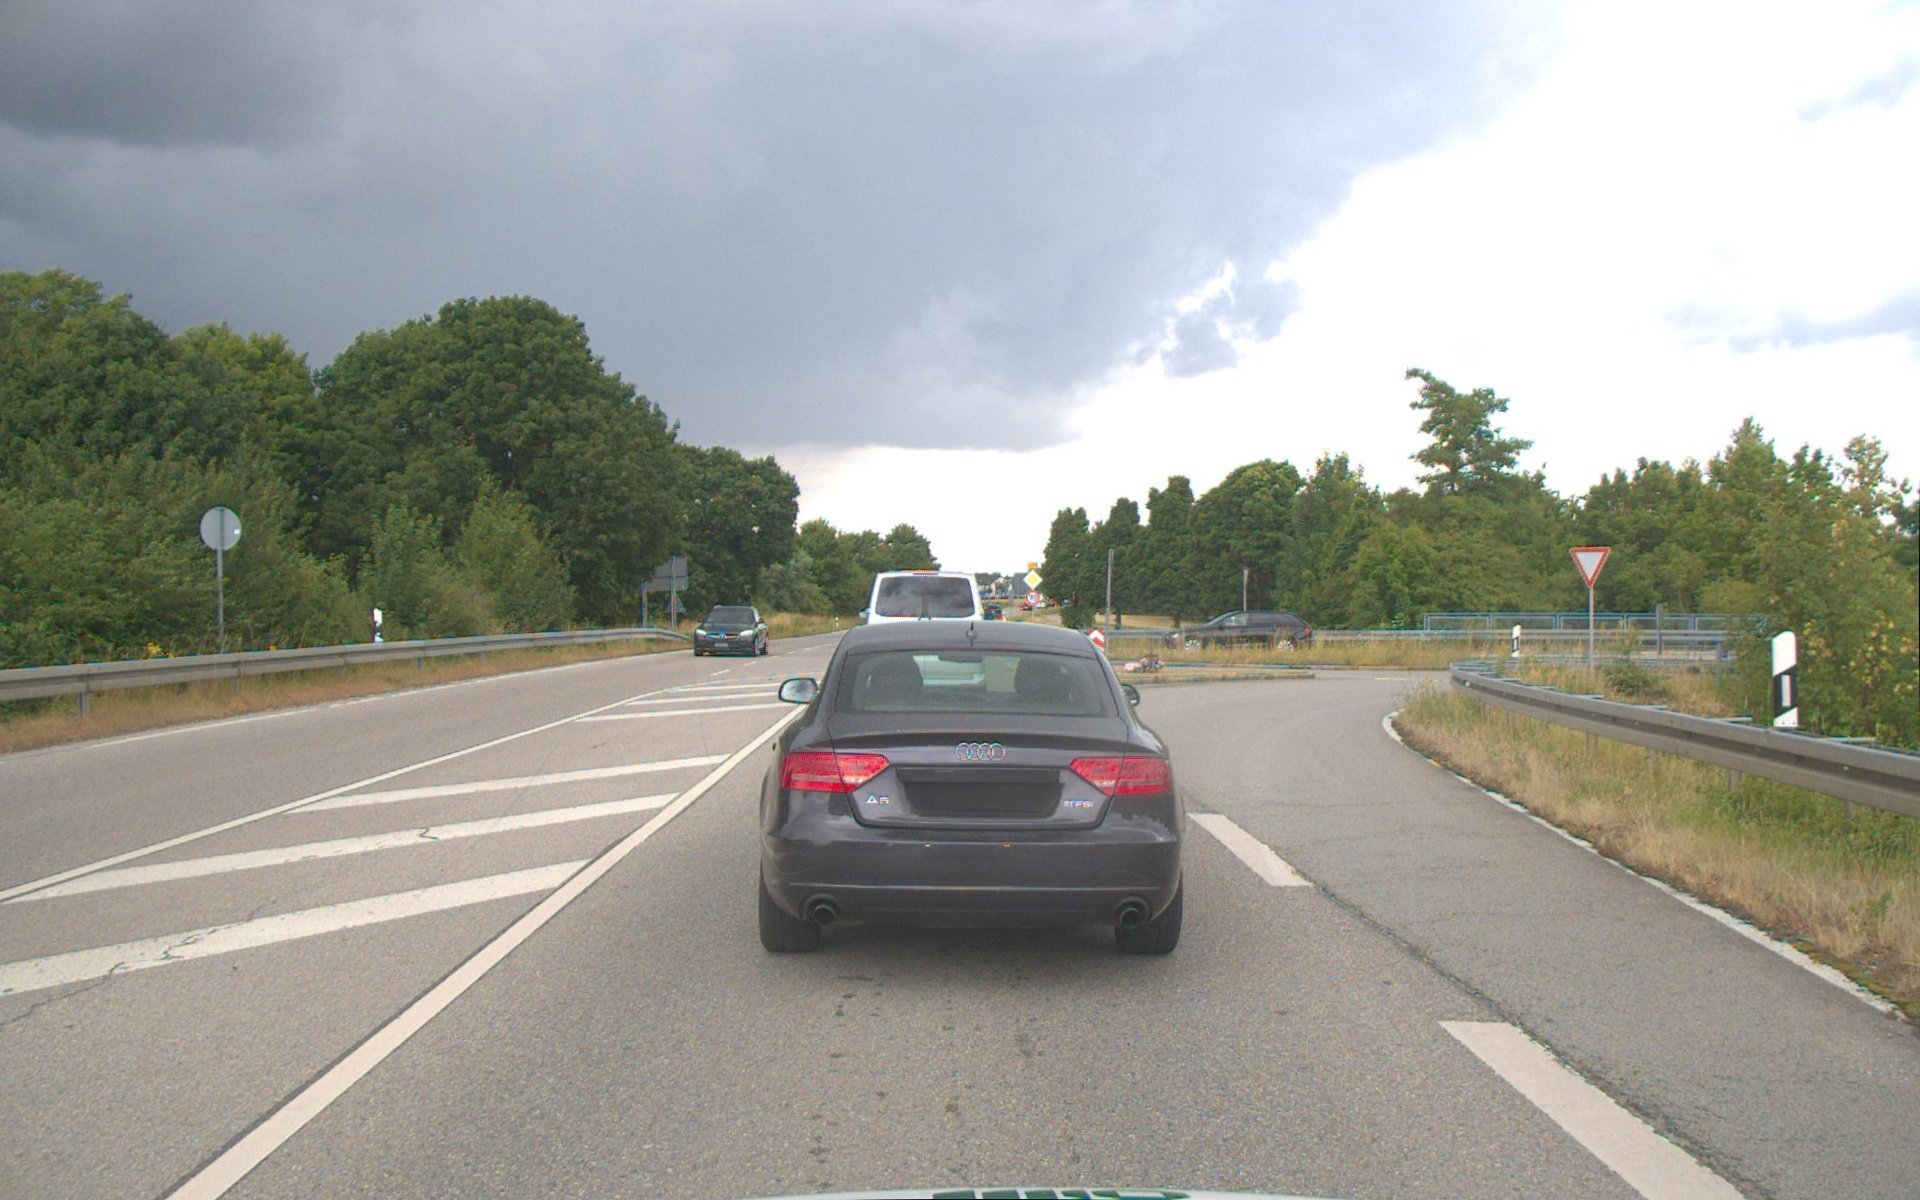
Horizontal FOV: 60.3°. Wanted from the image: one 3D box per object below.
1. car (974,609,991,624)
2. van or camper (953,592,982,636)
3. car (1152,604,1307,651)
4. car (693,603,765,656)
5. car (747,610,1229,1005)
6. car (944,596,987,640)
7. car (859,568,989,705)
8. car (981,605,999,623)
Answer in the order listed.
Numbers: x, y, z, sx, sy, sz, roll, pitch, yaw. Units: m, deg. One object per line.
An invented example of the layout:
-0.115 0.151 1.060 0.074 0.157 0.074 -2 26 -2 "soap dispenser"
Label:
2.222 1.685 166.153 1.683 1.477 4.000 1 0 0 "car"
0.676 1.185 137.432 2.292 3.542 5.719 0 -1 1 "van or camper"
8.109 0.818 50.040 4.499 1.398 1.827 0 0 4 "car"
-6.754 0.838 48.730 1.637 1.454 4.256 0 0 -2 "car"
0.078 0.774 8.056 1.746 1.401 3.999 1 0 -1 "car"
0.292 0.867 80.427 1.952 2.125 4.001 0 -1 2 "car"
-0.536 0.512 25.387 1.801 1.915 3.999 1 0 -1 "car"
3.513 1.594 192.866 1.953 2.049 3.999 1 0 -1 "car"
